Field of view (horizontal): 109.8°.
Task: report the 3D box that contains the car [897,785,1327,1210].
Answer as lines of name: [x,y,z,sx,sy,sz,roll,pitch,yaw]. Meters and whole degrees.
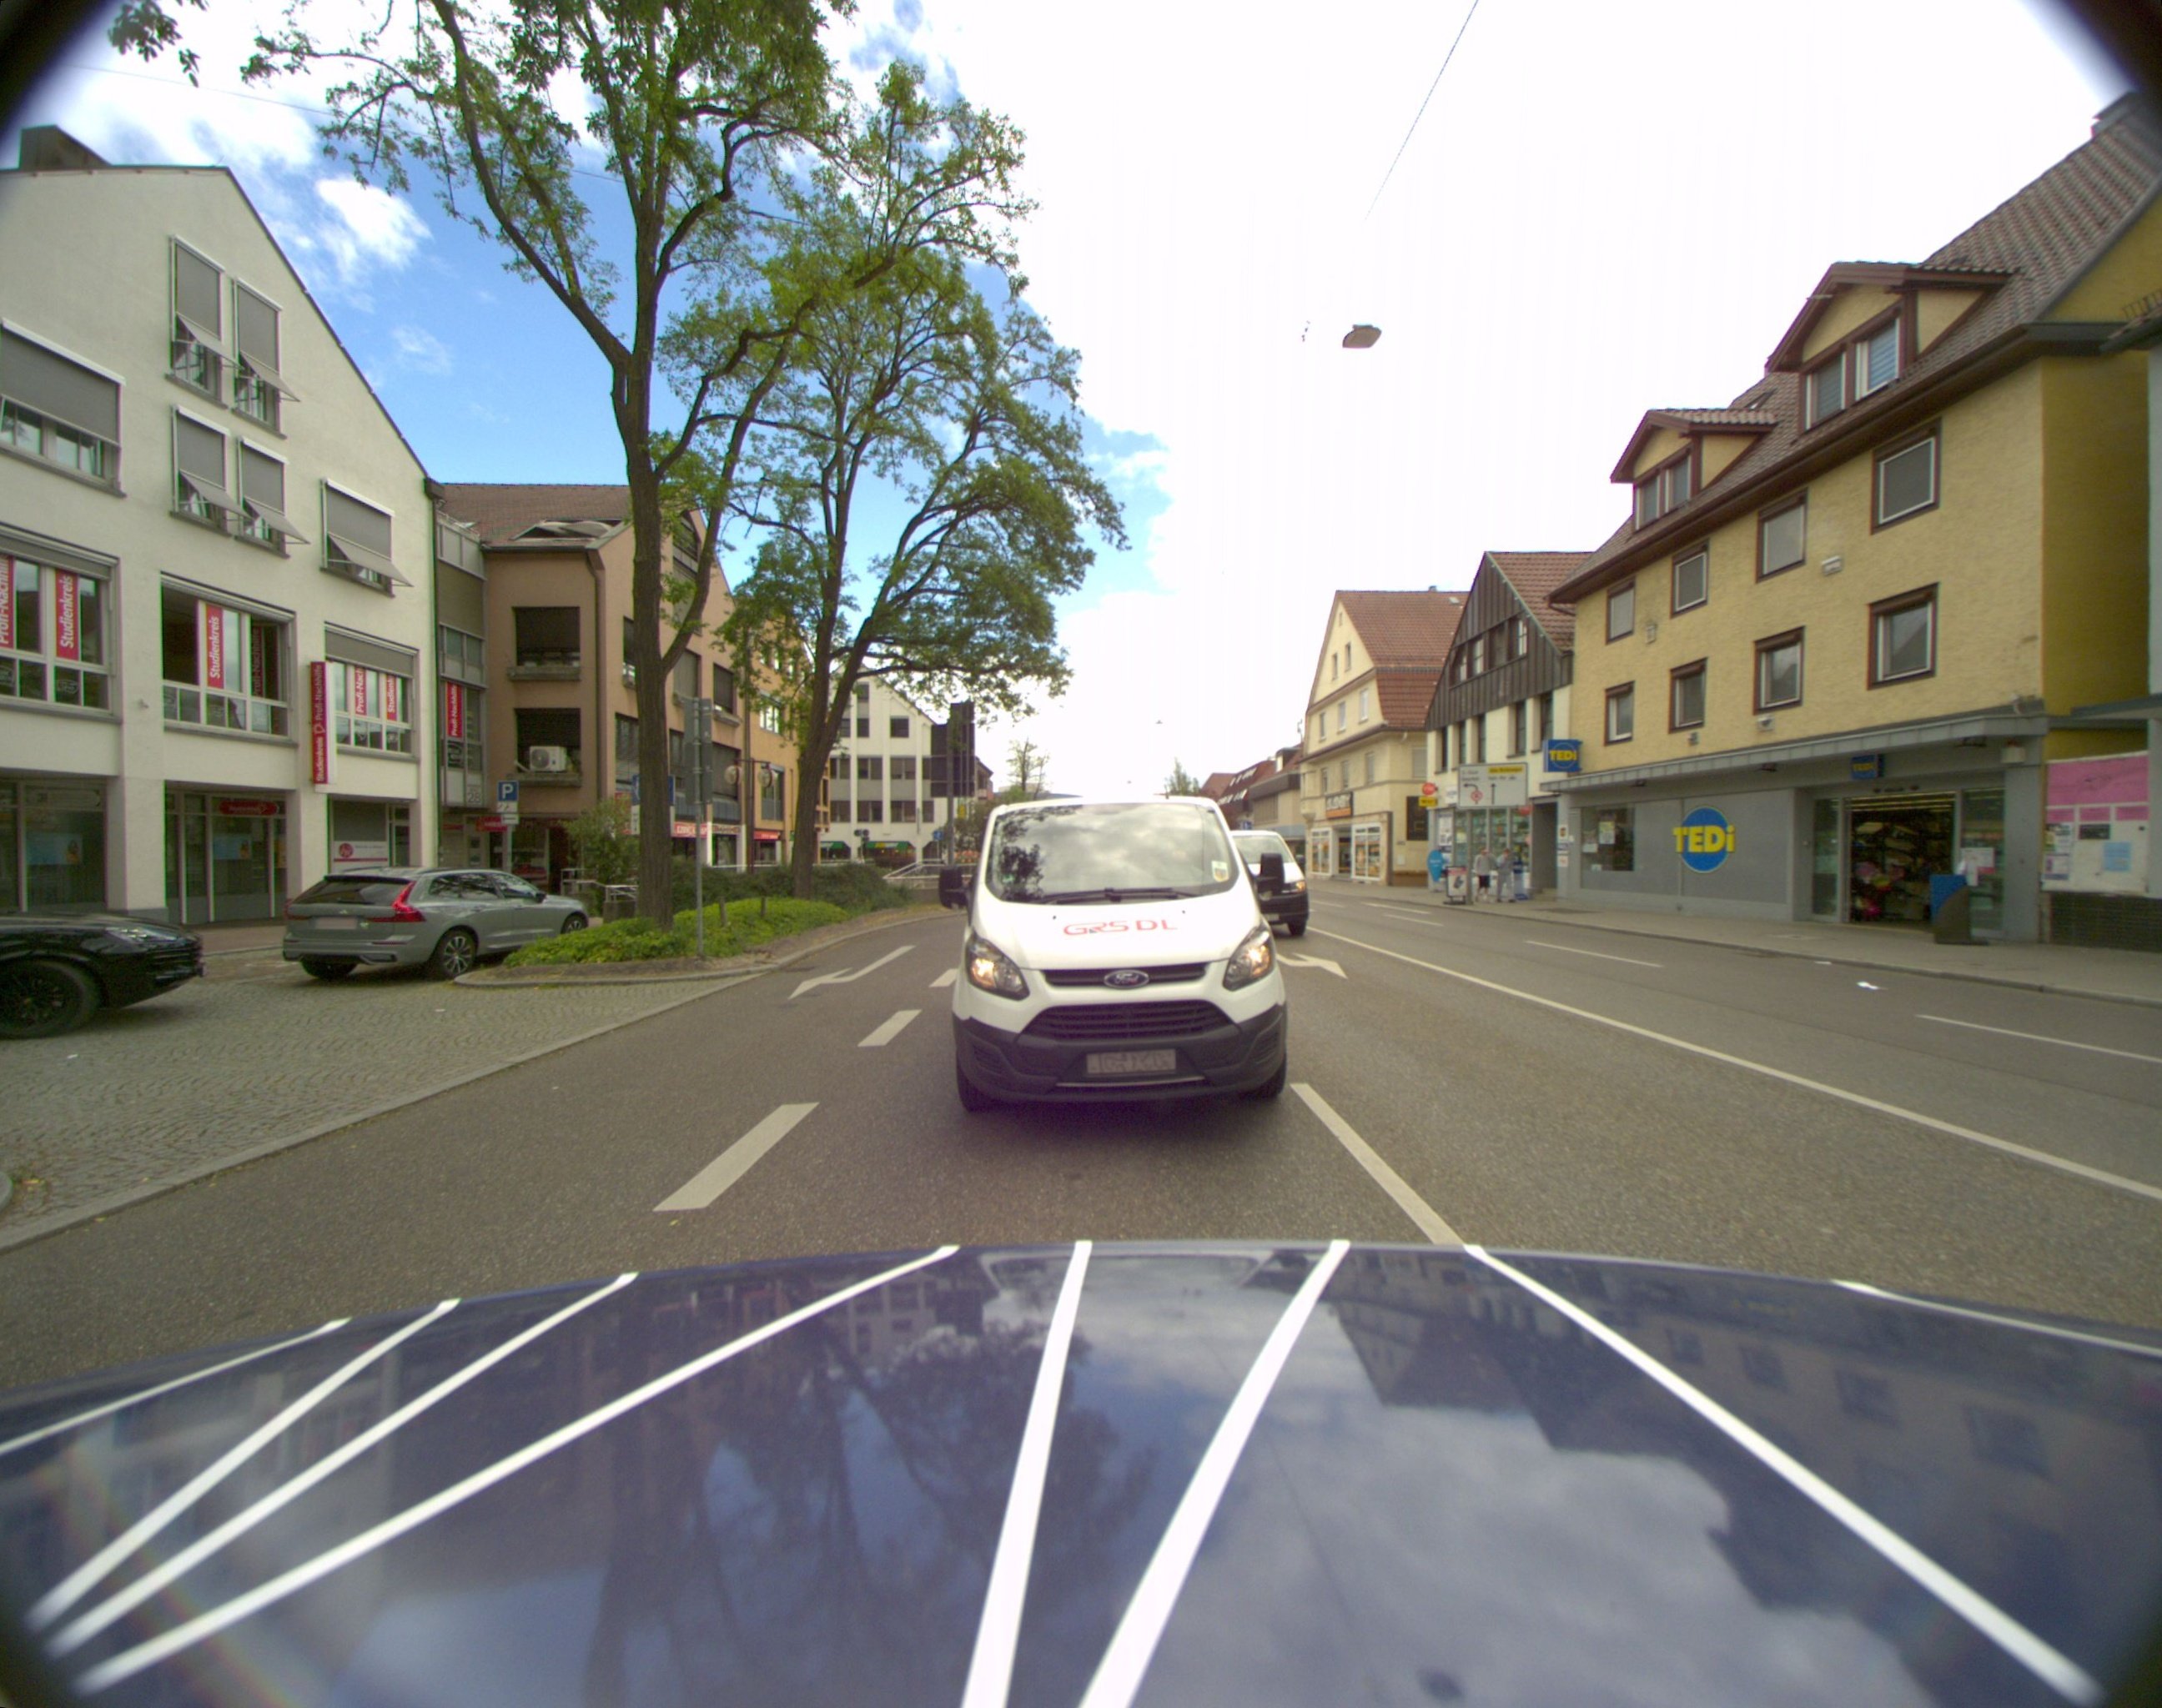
car: [0.158,0.673,6.171,1.964,1.948,5.164,-2,0,0]

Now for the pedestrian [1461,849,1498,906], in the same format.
pedestrian: [11.905,0.689,22.710,0.689,1.680,0.742,-2,1,0]

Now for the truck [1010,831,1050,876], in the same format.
truck: [-4.185,-0.070,63.774,2.446,3.464,8.346,-2,1,1]

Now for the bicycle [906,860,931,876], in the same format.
bicycle: [-10.477,0.904,49.049,1.594,0.996,0.414,-1,1,-13]

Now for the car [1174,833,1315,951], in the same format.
car: [3.032,0.639,15.122,1.830,1.948,4.852,-1,0,1]

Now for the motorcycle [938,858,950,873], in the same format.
motorcycle: [-9.796,0.789,54.220,0.464,1.062,1.995,-1,0,0]

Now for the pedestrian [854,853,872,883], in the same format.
pedestrian: [-13.406,0.843,46.723,0.871,1.812,0.785,-2,1,-4]

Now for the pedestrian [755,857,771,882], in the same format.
pedestrian: [-22.593,1.102,54.024,0.887,1.747,0.943,-1,1,-11]

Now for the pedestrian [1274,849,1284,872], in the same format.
pedestrian: [16.469,0.554,63.222,0.551,1.878,0.592,-2,1,-4]

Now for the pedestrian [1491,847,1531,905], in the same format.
pedestrian: [12.696,0.631,22.462,0.689,1.660,0.709,-3,1,0]

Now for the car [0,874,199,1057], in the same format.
car: [-11.701,1.068,6.932,1.853,1.660,4.673,1,0,44]

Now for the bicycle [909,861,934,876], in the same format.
bicycle: [-10.428,0.953,49.697,1.594,0.963,0.461,-1,1,-14]

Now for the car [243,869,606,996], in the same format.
car: [-10.299,1.103,12.593,1.999,1.586,4.762,0,0,-2]
